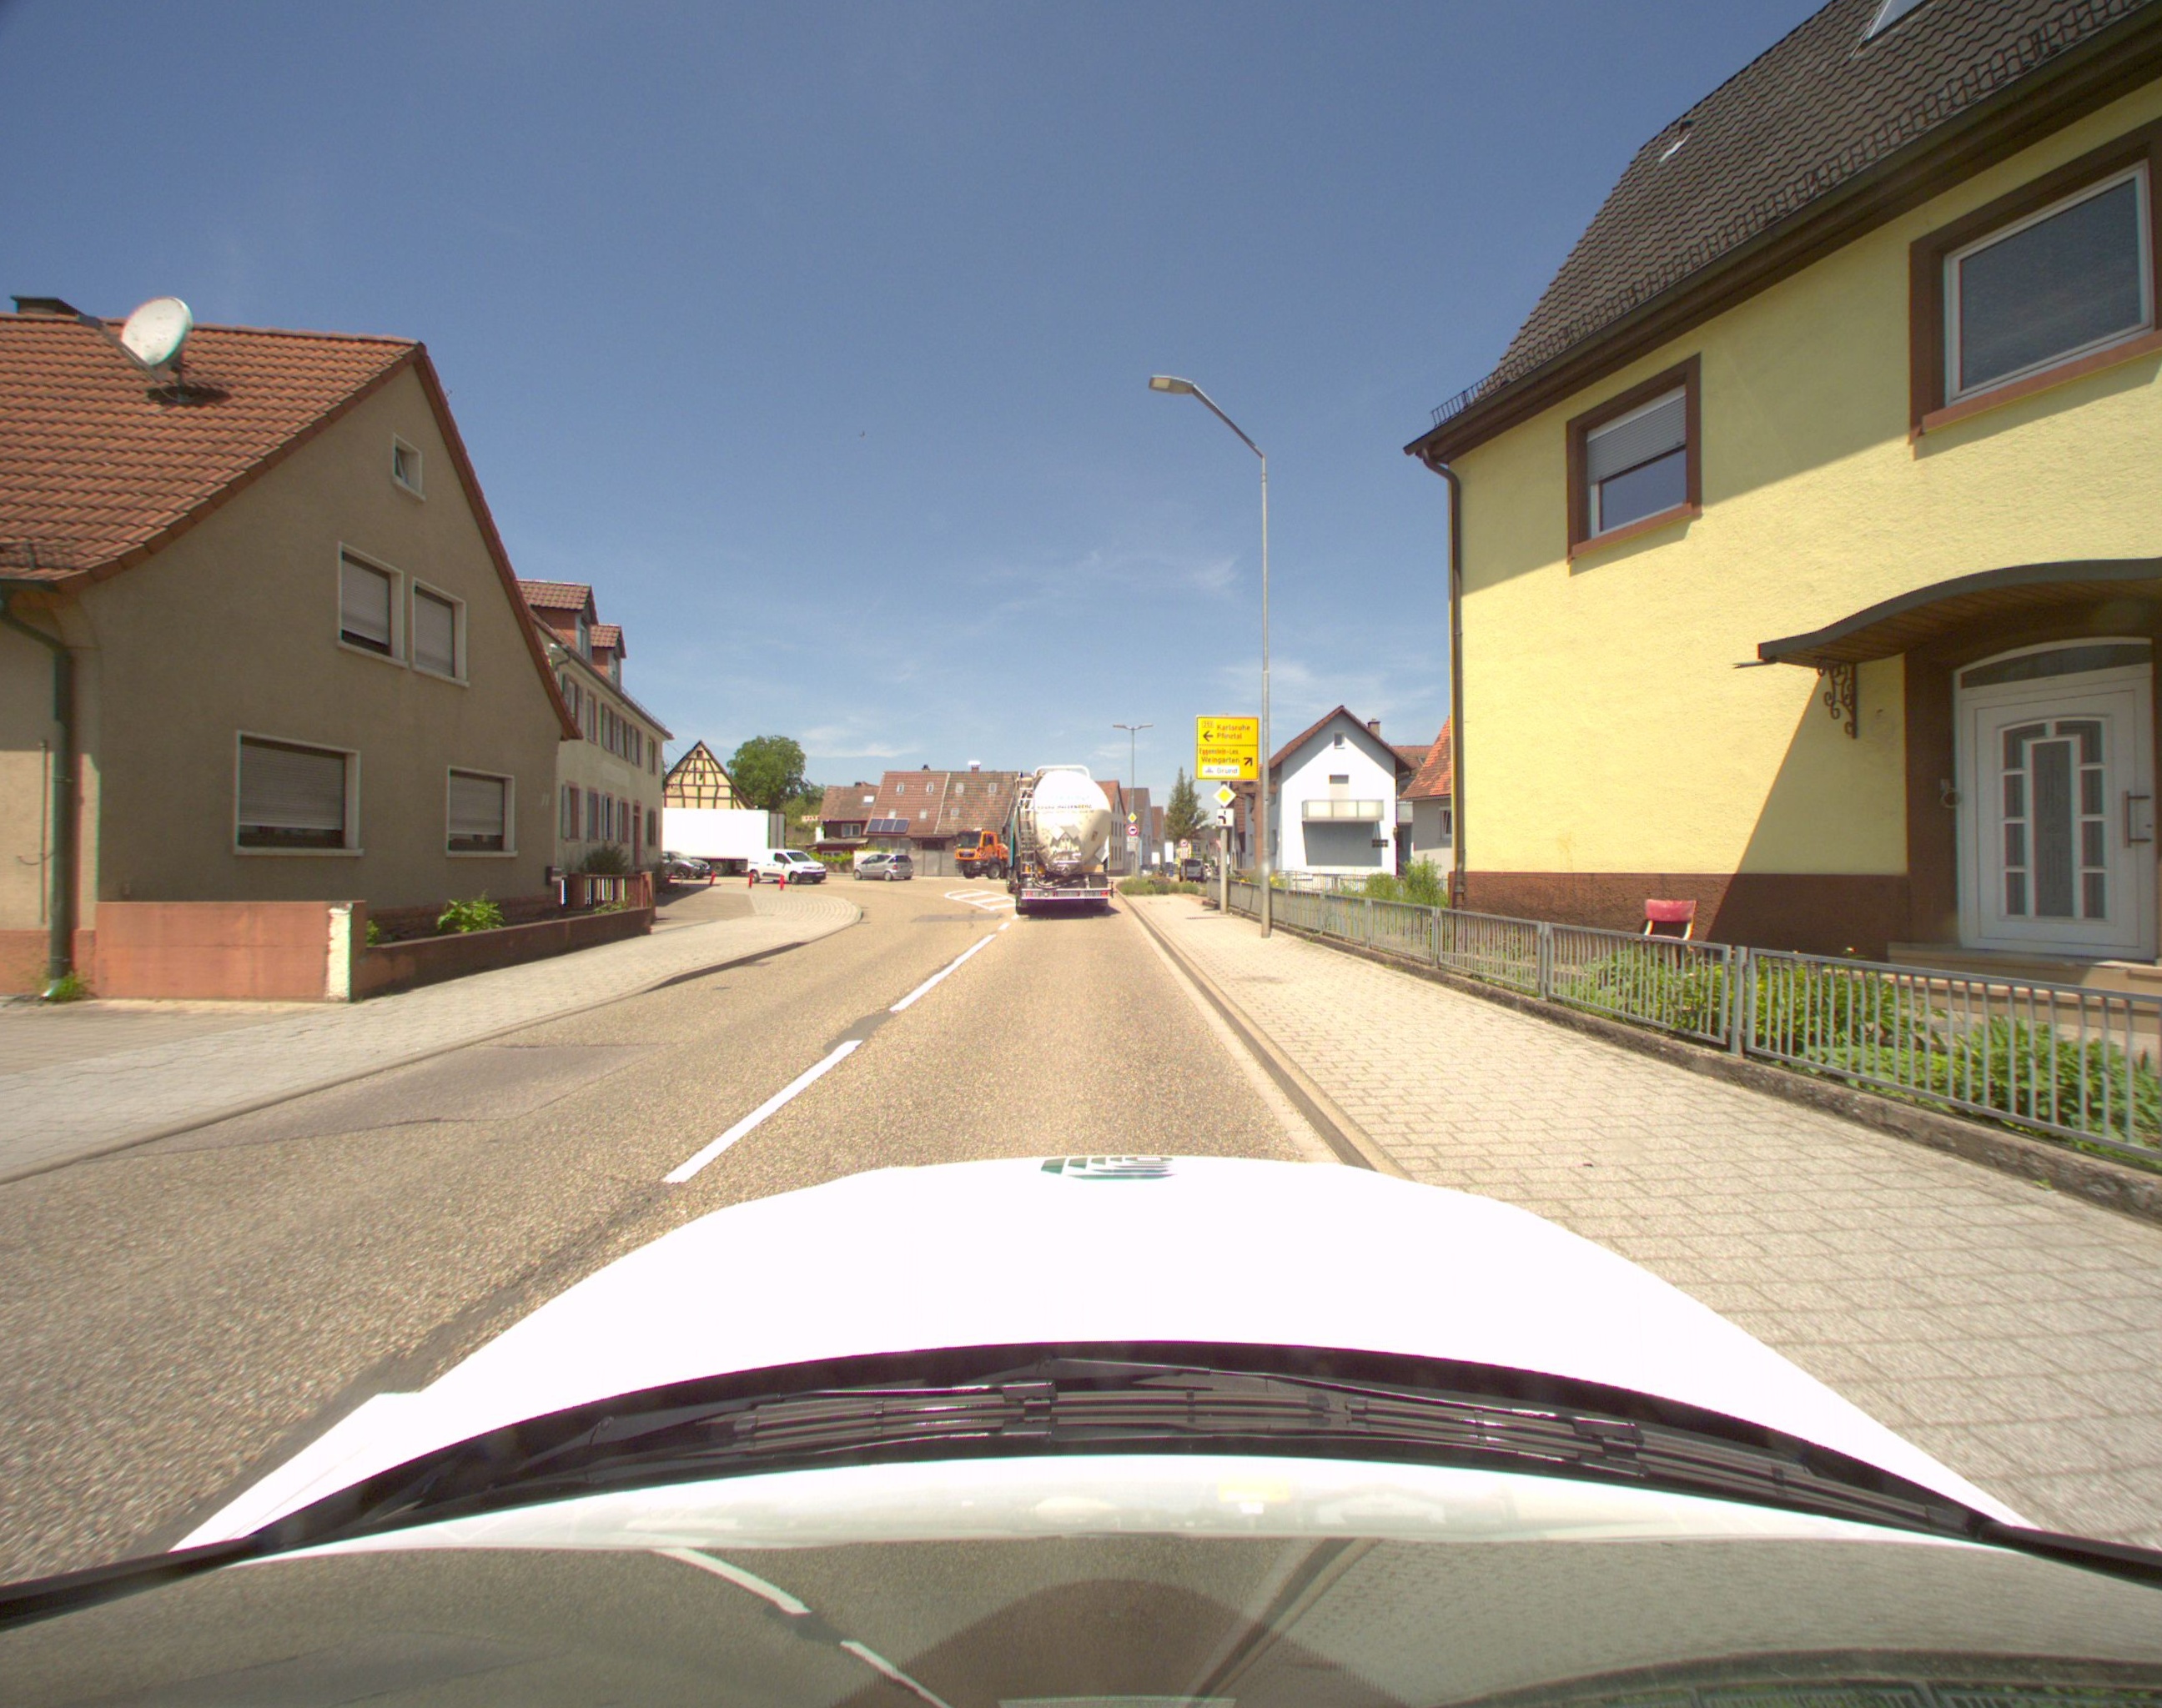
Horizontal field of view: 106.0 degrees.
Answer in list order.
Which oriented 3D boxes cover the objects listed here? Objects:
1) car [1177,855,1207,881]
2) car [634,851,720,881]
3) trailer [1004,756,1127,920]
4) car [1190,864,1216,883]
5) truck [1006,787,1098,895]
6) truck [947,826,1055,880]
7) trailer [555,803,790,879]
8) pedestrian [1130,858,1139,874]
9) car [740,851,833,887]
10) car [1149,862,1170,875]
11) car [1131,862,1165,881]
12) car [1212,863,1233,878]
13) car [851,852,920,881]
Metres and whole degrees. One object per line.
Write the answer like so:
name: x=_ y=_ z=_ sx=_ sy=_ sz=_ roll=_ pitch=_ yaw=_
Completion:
car: x=8.762 y=1.164 z=64.063 sx=1.980 sy=1.912 sz=4.338 roll=1 pitch=-2 yaw=13
car: x=-22.597 y=0.674 z=45.632 sx=3.962 sy=1.524 sz=1.803 roll=1 pitch=-1 yaw=10
trailer: x=-0.715 y=-0.315 z=25.673 sx=2.946 sy=3.948 sz=11.602 roll=1 pitch=-1 yaw=-4
car: x=10.654 y=1.657 z=70.911 sx=1.804 sy=1.634 sz=4.223 roll=0 pitch=-1 yaw=15
truck: x=-1.300 y=-0.454 z=33.033 sx=2.987 sy=3.965 sz=5.560 roll=1 pitch=-1 yaw=-10
truck: x=-5.041 y=0.019 z=53.150 sx=2.635 sy=3.181 sz=7.509 roll=-1 pitch=-3 yaw=36
trailer: x=-24.401 y=-0.730 z=49.131 sx=12.413 sy=4.277 sz=3.142 roll=1 pitch=-1 yaw=0
pedestrian: x=6.514 y=1.465 z=99.512 sx=0.762 sy=2.014 sz=0.981 roll=1 pitch=-1 yaw=21
car: x=-15.587 y=0.745 z=43.135 sx=4.468 sy=1.785 sz=1.889 roll=1 pitch=0 yaw=22
car: x=10.213 y=1.915 z=105.628 sx=1.703 sy=1.596 sz=4.020 roll=1 pitch=-1 yaw=21
car: x=6.652 y=1.767 z=80.148 sx=1.976 sy=1.675 sz=4.336 roll=1 pitch=-3 yaw=24
car: x=15.449 y=1.750 z=89.060 sx=1.979 sy=1.585 sz=4.014 roll=1 pitch=-1 yaw=13
car: x=-11.108 y=0.706 z=46.171 sx=3.559 sy=1.585 sz=1.799 roll=-1 pitch=-1 yaw=32
